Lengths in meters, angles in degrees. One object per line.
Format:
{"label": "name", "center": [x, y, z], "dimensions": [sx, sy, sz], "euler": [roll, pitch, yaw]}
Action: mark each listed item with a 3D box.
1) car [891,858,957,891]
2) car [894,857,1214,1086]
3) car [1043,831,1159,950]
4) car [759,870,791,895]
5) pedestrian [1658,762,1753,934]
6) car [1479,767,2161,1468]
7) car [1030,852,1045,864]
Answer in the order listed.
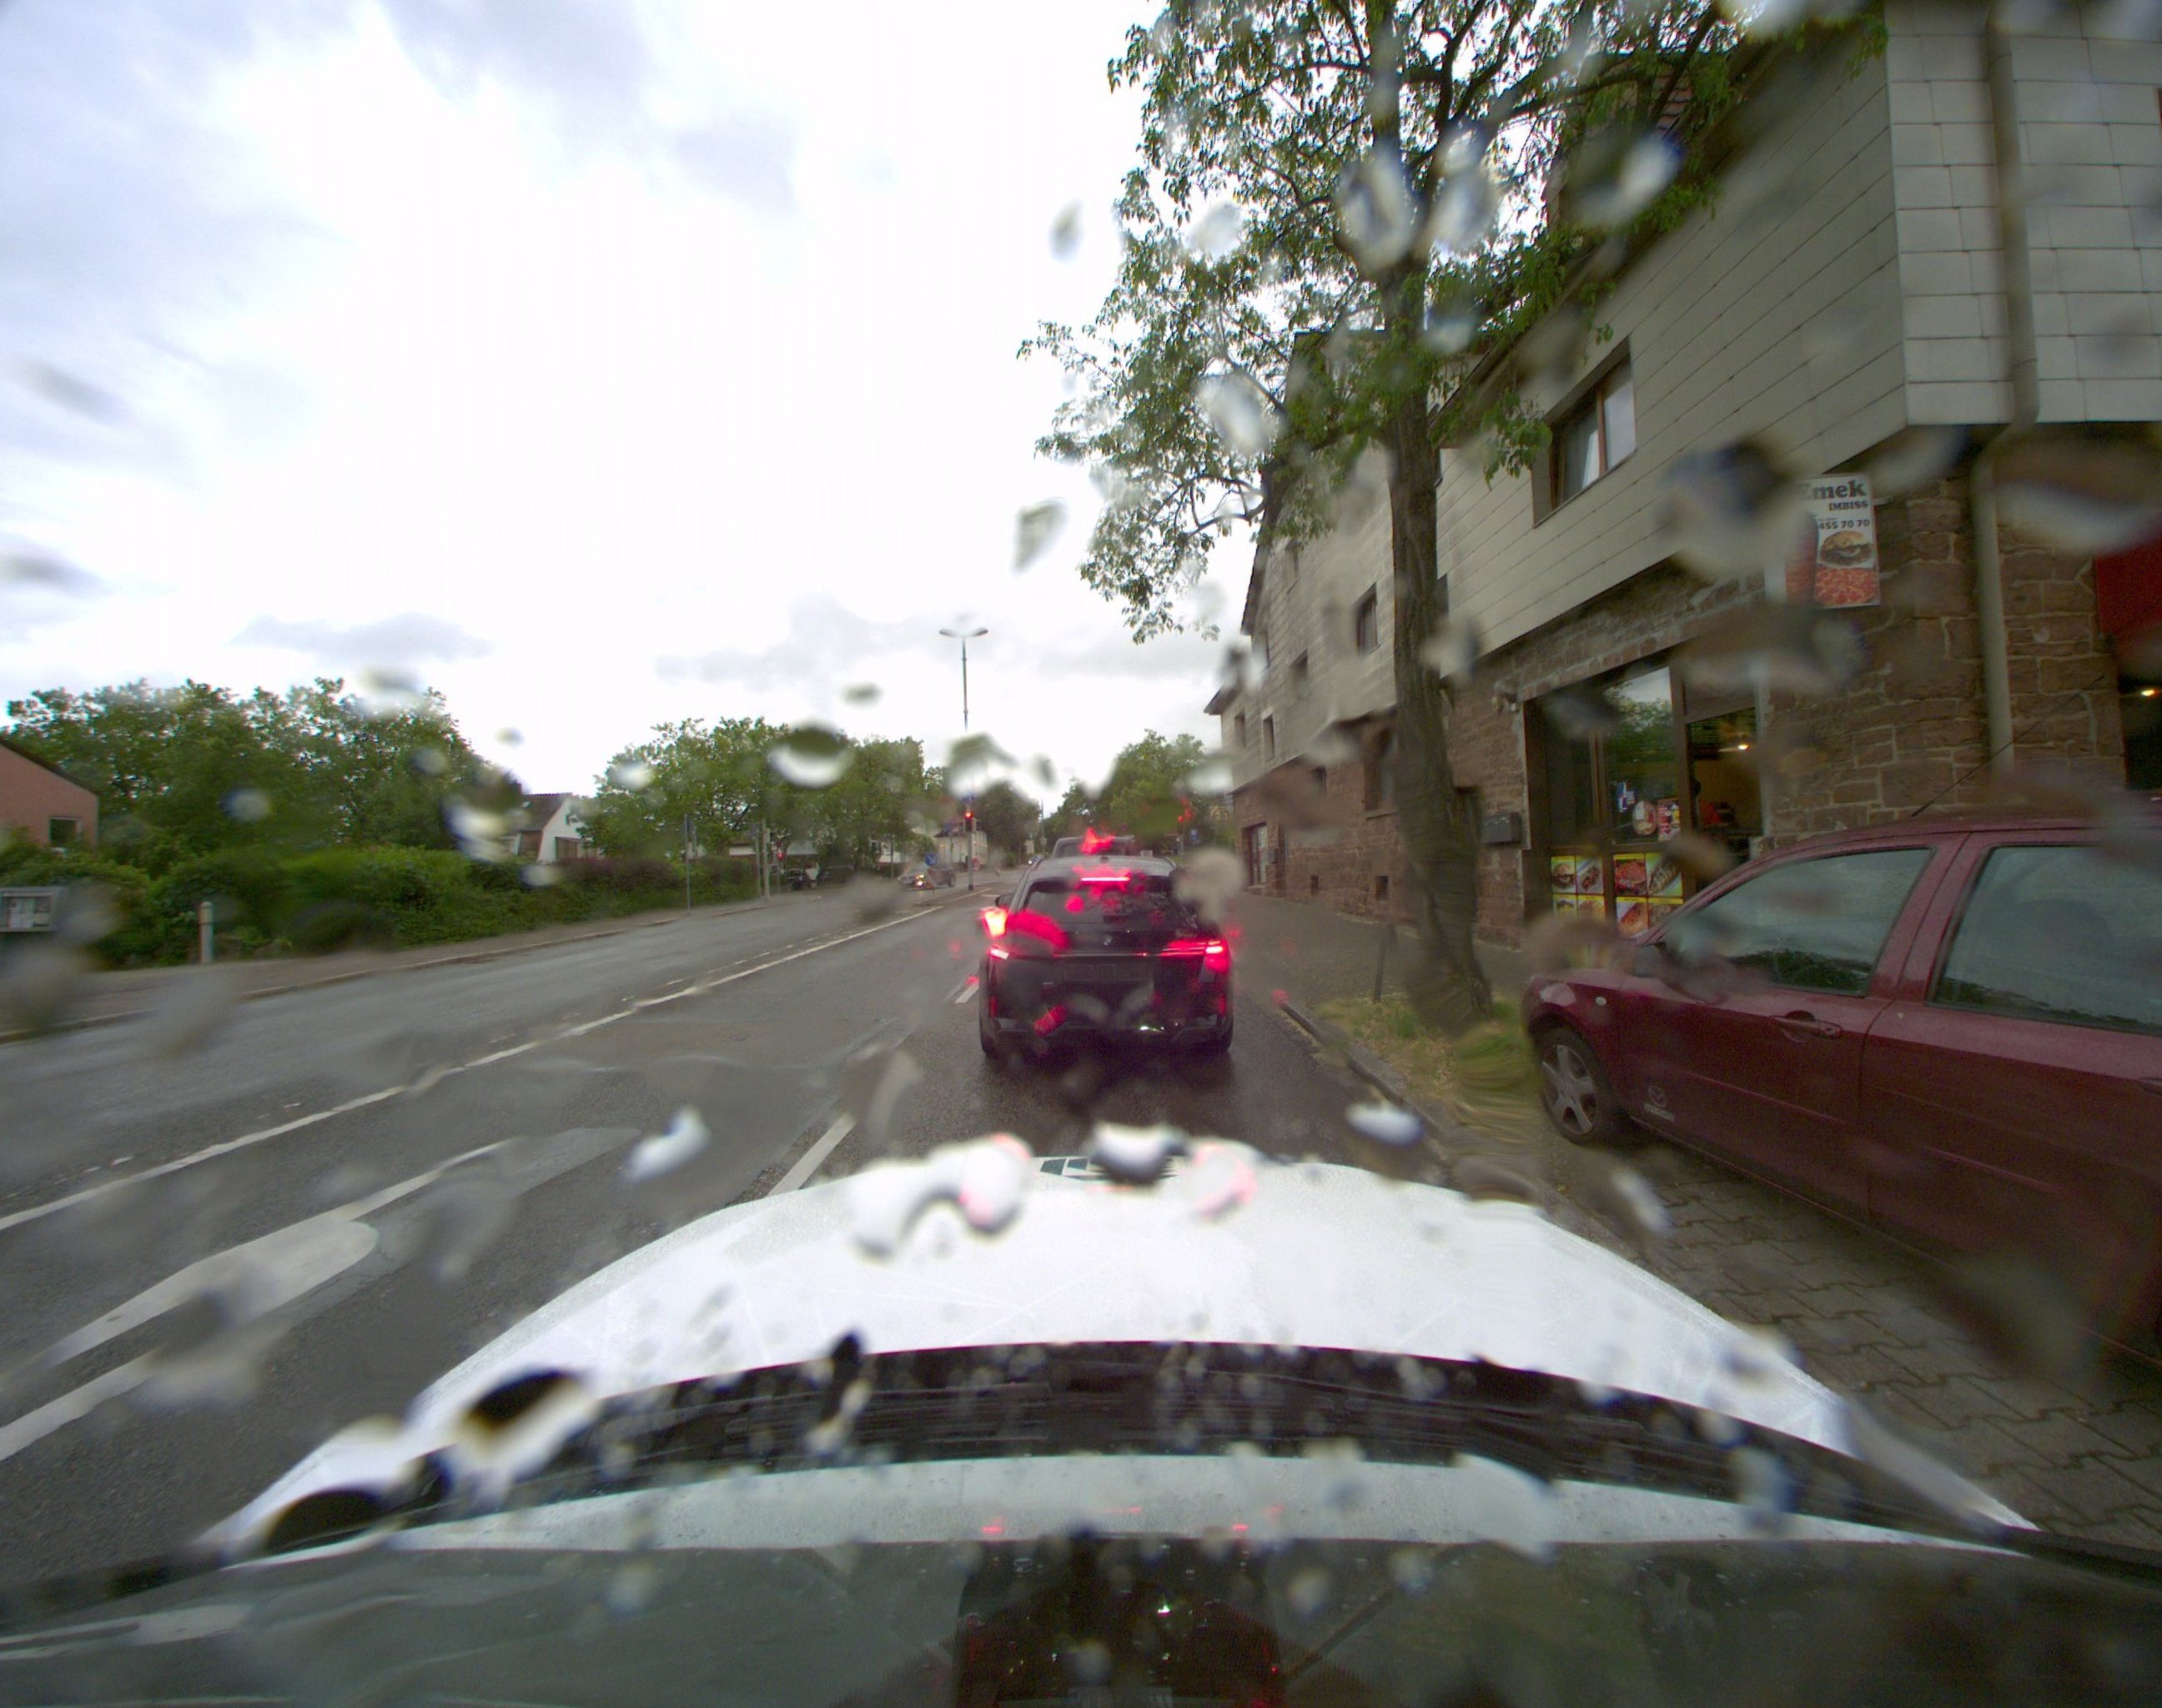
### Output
{"label": "car", "center": [-7.936, 1.007, 41.439], "dimensions": [1.981, 1.510, 3.965], "euler": [-1, 0, 9]}
{"label": "car", "center": [-0.193, 0.766, 7.535], "dimensions": [2.058, 1.446, 4.481], "euler": [-1, 0, -1]}
{"label": "car", "center": [0.306, 0.566, 14.778], "dimensions": [1.778, 1.817, 3.999], "euler": [-1, 0, 0]}
{"label": "car", "center": [-21.666, 1.987, 57.733], "dimensions": [2.000, 1.552, 3.973], "euler": [-2, 0, -20]}
{"label": "pedestrian", "center": [6.909, -0.066, 9.026], "dimensions": [0.635, 1.839, 0.483], "euler": [-1, 0, 1]}
{"label": "car", "center": [3.037, 0.507, 2.626], "dimensions": [1.579, 1.490, 3.625], "euler": [-5, 1, -1]}
{"label": "car", "center": [-5.147, 0.479, 95.716], "dimensions": [1.459, 1.398, 3.323], "euler": [-1, 0, 2]}
